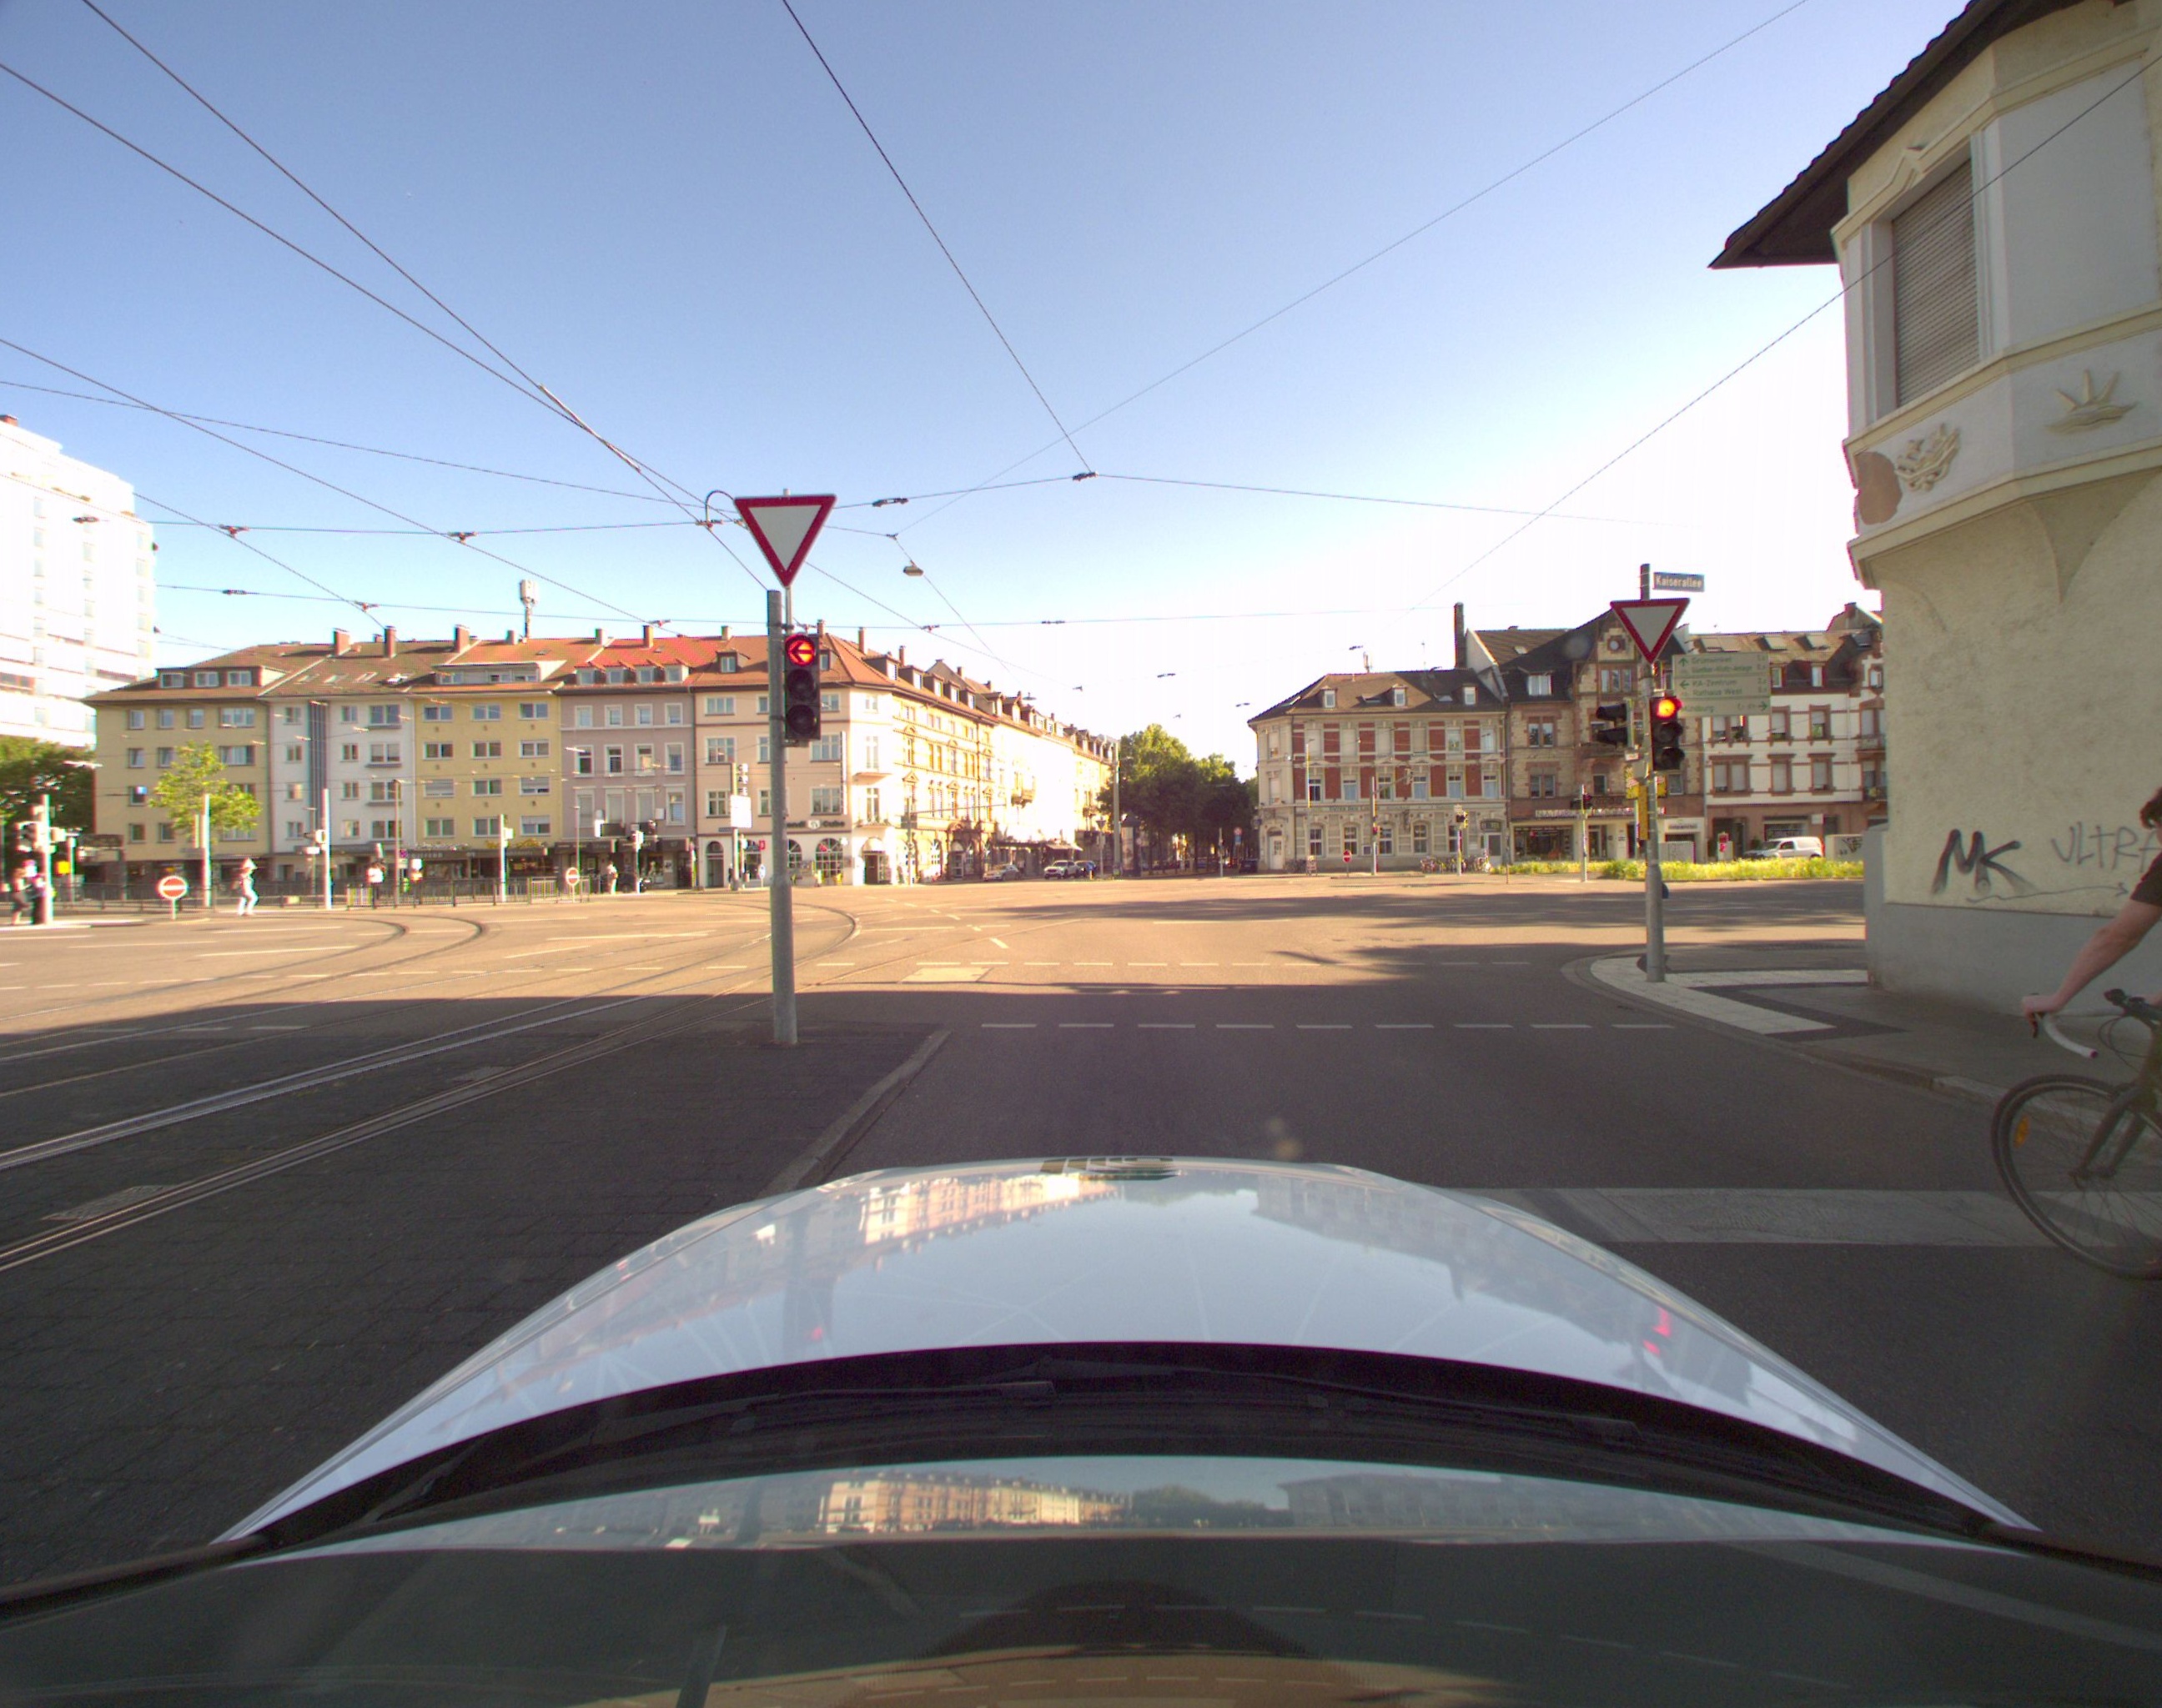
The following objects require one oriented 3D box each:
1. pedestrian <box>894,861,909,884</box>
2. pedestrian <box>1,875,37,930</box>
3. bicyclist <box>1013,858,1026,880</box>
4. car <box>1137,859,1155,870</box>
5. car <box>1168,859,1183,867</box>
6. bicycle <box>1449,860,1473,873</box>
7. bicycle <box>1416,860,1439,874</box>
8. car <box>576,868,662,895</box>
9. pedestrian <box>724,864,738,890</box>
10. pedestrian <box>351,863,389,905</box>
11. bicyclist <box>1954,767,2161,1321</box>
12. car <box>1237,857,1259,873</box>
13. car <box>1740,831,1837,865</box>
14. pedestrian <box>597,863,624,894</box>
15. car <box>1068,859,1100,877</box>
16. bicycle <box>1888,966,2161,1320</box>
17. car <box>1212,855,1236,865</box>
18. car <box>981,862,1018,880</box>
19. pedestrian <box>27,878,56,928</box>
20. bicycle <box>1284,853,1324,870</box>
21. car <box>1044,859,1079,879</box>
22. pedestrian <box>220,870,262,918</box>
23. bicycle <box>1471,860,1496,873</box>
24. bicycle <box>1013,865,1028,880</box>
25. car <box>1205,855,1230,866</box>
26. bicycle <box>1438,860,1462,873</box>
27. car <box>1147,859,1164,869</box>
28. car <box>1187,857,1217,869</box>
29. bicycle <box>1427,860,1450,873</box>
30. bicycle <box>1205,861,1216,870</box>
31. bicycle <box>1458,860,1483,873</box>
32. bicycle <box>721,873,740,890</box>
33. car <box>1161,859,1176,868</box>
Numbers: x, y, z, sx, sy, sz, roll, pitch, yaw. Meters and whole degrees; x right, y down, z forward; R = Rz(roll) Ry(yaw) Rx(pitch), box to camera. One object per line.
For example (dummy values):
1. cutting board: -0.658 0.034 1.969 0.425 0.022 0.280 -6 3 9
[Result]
1. pedestrian: -12.942 1.319 58.761 0.770 1.670 0.834 -1 -1 17
2. pedestrian: -32.913 1.497 25.245 0.456 1.644 0.643 -1 1 38
3. bicyclist: -4.935 1.205 65.421 0.772 1.803 1.060 -1 -1 16
4. car: 9.176 1.485 115.455 1.664 1.354 3.608 -2 0 19
5. car: 15.722 1.513 135.610 1.664 1.354 3.608 -2 0 19
6. bicycle: 24.574 0.808 52.756 0.656 0.840 2.162 0 -1 3
7. bicycle: 22.432 0.824 52.705 0.656 0.840 2.162 0 -1 3
8. car: -30.359 1.785 53.643 4.347 1.711 2.308 0 -1 4
9. pedestrian: -22.872 1.502 53.195 0.580 1.670 0.753 0 -1 2
10. pedestrian: -27.309 1.157 31.291 0.720 1.577 0.836 -1 -1 11
11. bicyclist: 3.584 0.578 2.508 0.570 1.701 1.117 -1 0 2
12. car: 16.908 1.093 82.342 1.664 1.483 3.967 -2 0 19
13. car: 45.449 -0.382 52.411 4.406 2.013 2.002 -1 0 4
14. pedestrian: -24.573 1.283 42.540 0.842 1.577 0.836 -1 -1 11
15. car: 0.312 1.237 73.777 1.664 1.483 3.967 -2 0 19
16. bicycle: 3.609 0.960 2.516 0.516 0.970 1.750 -1 0 2
17. car: 23.357 0.958 133.163 3.549 1.648 1.691 -2 0 19
18. car: -6.704 1.421 67.233 1.664 1.354 3.608 -2 0 19
19. pedestrian: -31.907 1.497 24.996 0.456 1.505 0.485 -1 1 38
20. bicycle: 15.609 0.498 57.067 2.547 1.174 0.818 0 -1 -1
21. car: -1.600 1.211 67.517 1.664 1.483 3.789 -2 0 19
22. pedestrian: -27.848 1.312 27.005 0.545 1.577 0.838 -1 -1 29
23. bicycle: 26.014 0.797 52.726 0.656 0.840 2.162 0 -1 3
24. bicycle: -4.889 1.481 65.541 0.696 1.118 1.642 -1 -1 16
25. car: 21.451 1.052 127.729 3.549 1.648 1.691 -2 0 19
26. bicycle: 23.891 0.813 52.749 0.656 0.840 2.162 0 -1 3
27. car: 11.245 1.490 122.371 1.664 1.354 3.608 -2 0 19
28. car: 17.207 1.250 115.463 3.870 1.648 1.691 -2 0 19
29. bicycle: 23.167 0.819 52.764 0.656 0.840 2.162 0 -1 3
30. bicycle: 15.773 1.386 99.288 0.636 1.021 1.839 0 -1 -12
31. bicycle: 25.211 0.803 52.711 0.656 0.840 2.162 0 -1 3
32. bicycle: -22.870 1.797 53.199 0.570 1.077 1.497 0 -1 2
33. car: 14.035 1.494 130.617 1.664 1.354 3.608 -2 0 19
